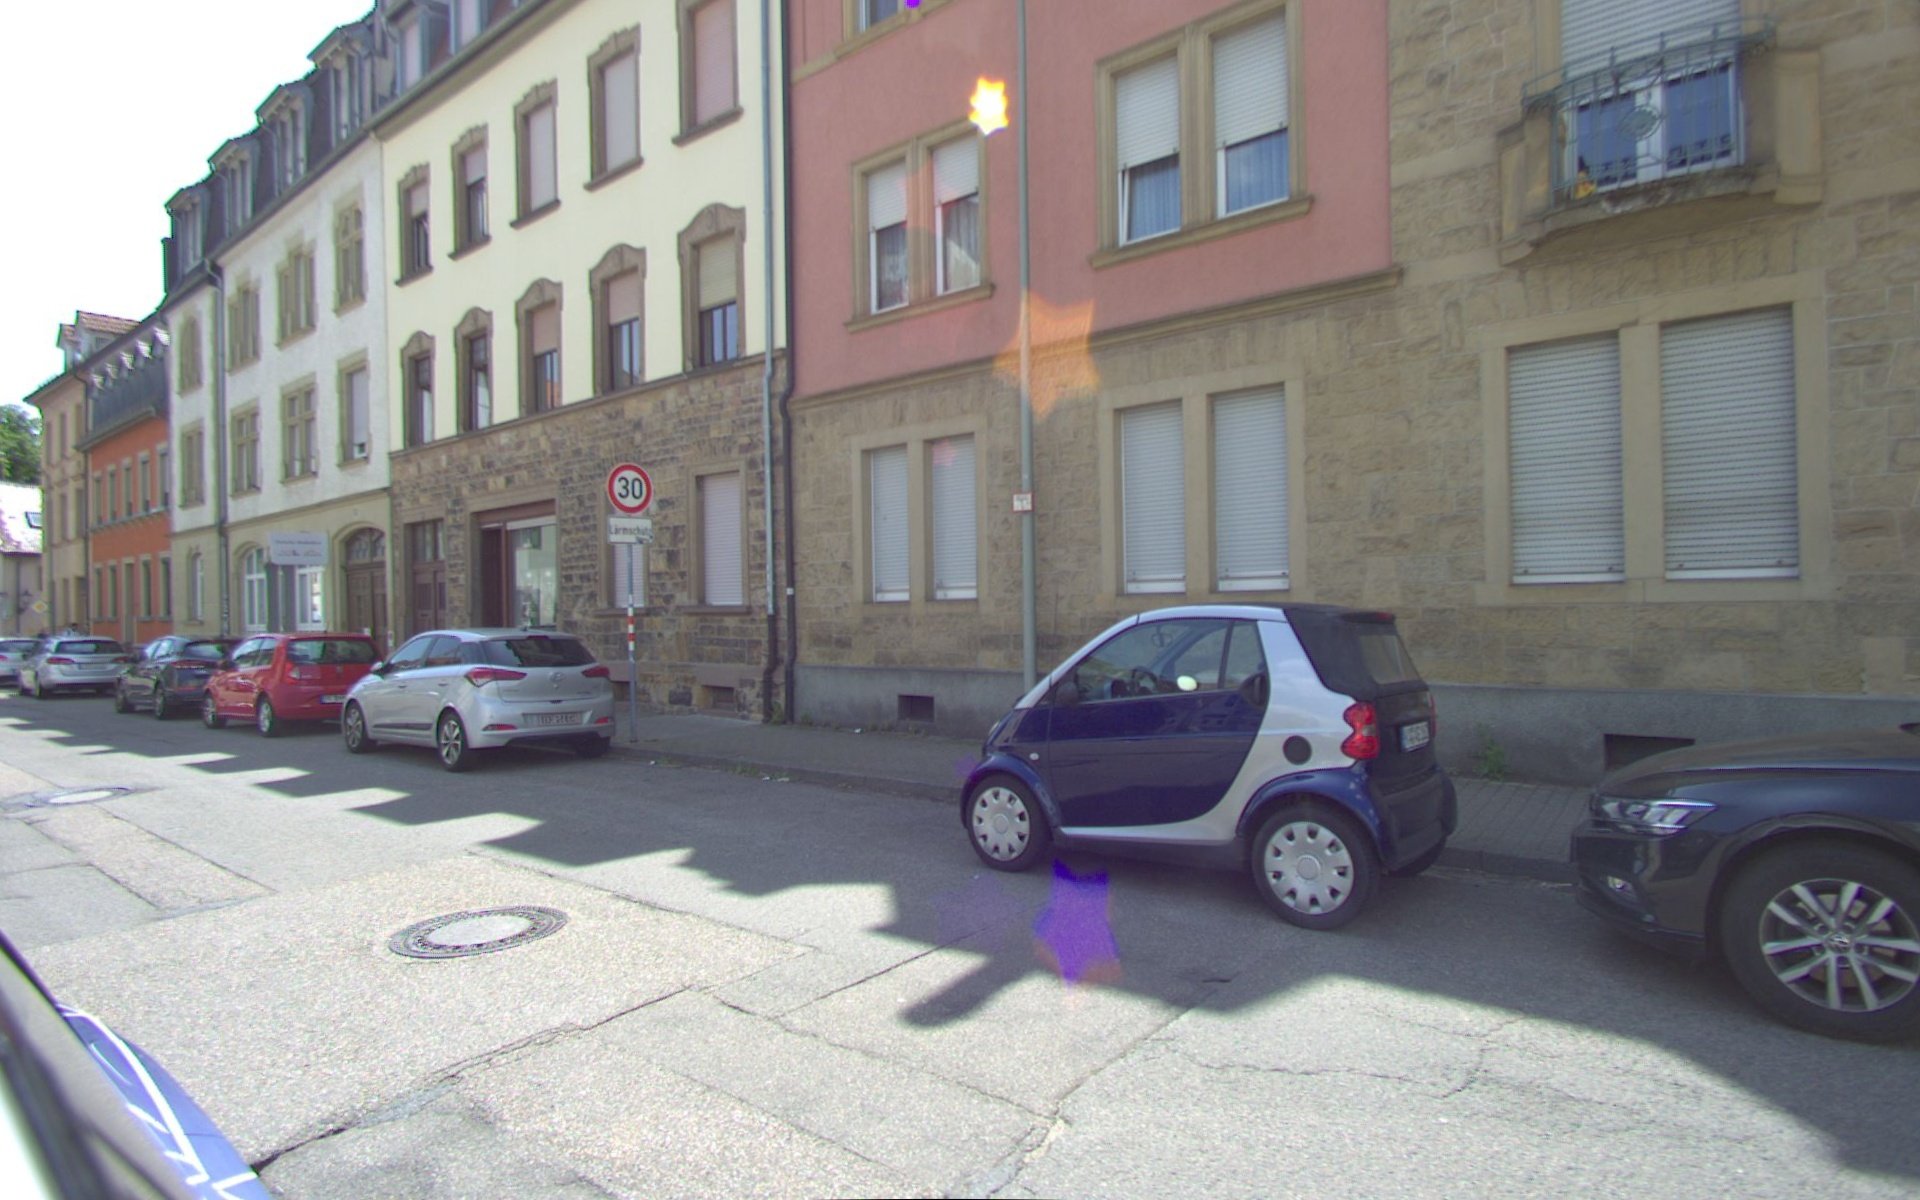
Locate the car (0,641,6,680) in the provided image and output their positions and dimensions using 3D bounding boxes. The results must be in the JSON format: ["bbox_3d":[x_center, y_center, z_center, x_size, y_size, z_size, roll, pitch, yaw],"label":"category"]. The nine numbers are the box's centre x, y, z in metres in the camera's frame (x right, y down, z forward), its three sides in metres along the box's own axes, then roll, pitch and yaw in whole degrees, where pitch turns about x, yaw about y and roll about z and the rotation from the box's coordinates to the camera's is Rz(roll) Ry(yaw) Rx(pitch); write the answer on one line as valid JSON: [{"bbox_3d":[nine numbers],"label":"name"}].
[{"bbox_3d":[-37.857,2.331,38.521,3.852,1.453,1.711,-2,-1,38],"label":"car"}]

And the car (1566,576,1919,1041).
[{"bbox_3d":[4.633,0.635,3.017,4.630,1.469,1.765,-1,-1,40],"label":"car"}]

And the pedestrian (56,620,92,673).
[{"bbox_3d":[-30.879,1.619,35.256,0.762,1.784,0.761,-2,0,38],"label":"pedestrian"}]

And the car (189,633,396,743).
[{"bbox_3d":[-10.172,1.255,15.350,3.490,1.453,1.583,-2,-2,38],"label":"car"}]

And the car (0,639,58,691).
[{"bbox_3d":[-28.712,1.940,30.462,3.848,1.470,1.694,-2,-3,38],"label":"car"}]

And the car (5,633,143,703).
[{"bbox_3d":[-21.881,1.627,24.930,4.376,1.522,1.859,-2,-1,39],"label":"car"}]

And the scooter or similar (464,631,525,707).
[{"bbox_3d":[-7.831,1.139,17.007,1.318,1.230,0.371,-2,-2,39],"label":"scooter or similar"}]

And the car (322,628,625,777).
[{"bbox_3d":[-5.723,1.068,11.714,4.014,1.442,1.618,-2,-3,39],"label":"car"}]

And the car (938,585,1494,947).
[{"bbox_3d":[1.366,0.733,5.712,2.692,1.534,1.423,-1,-1,38],"label":"car"}]

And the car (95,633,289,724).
[{"bbox_3d":[-14.314,1.386,18.791,4.212,1.449,1.855,-2,-1,38],"label":"car"}]
